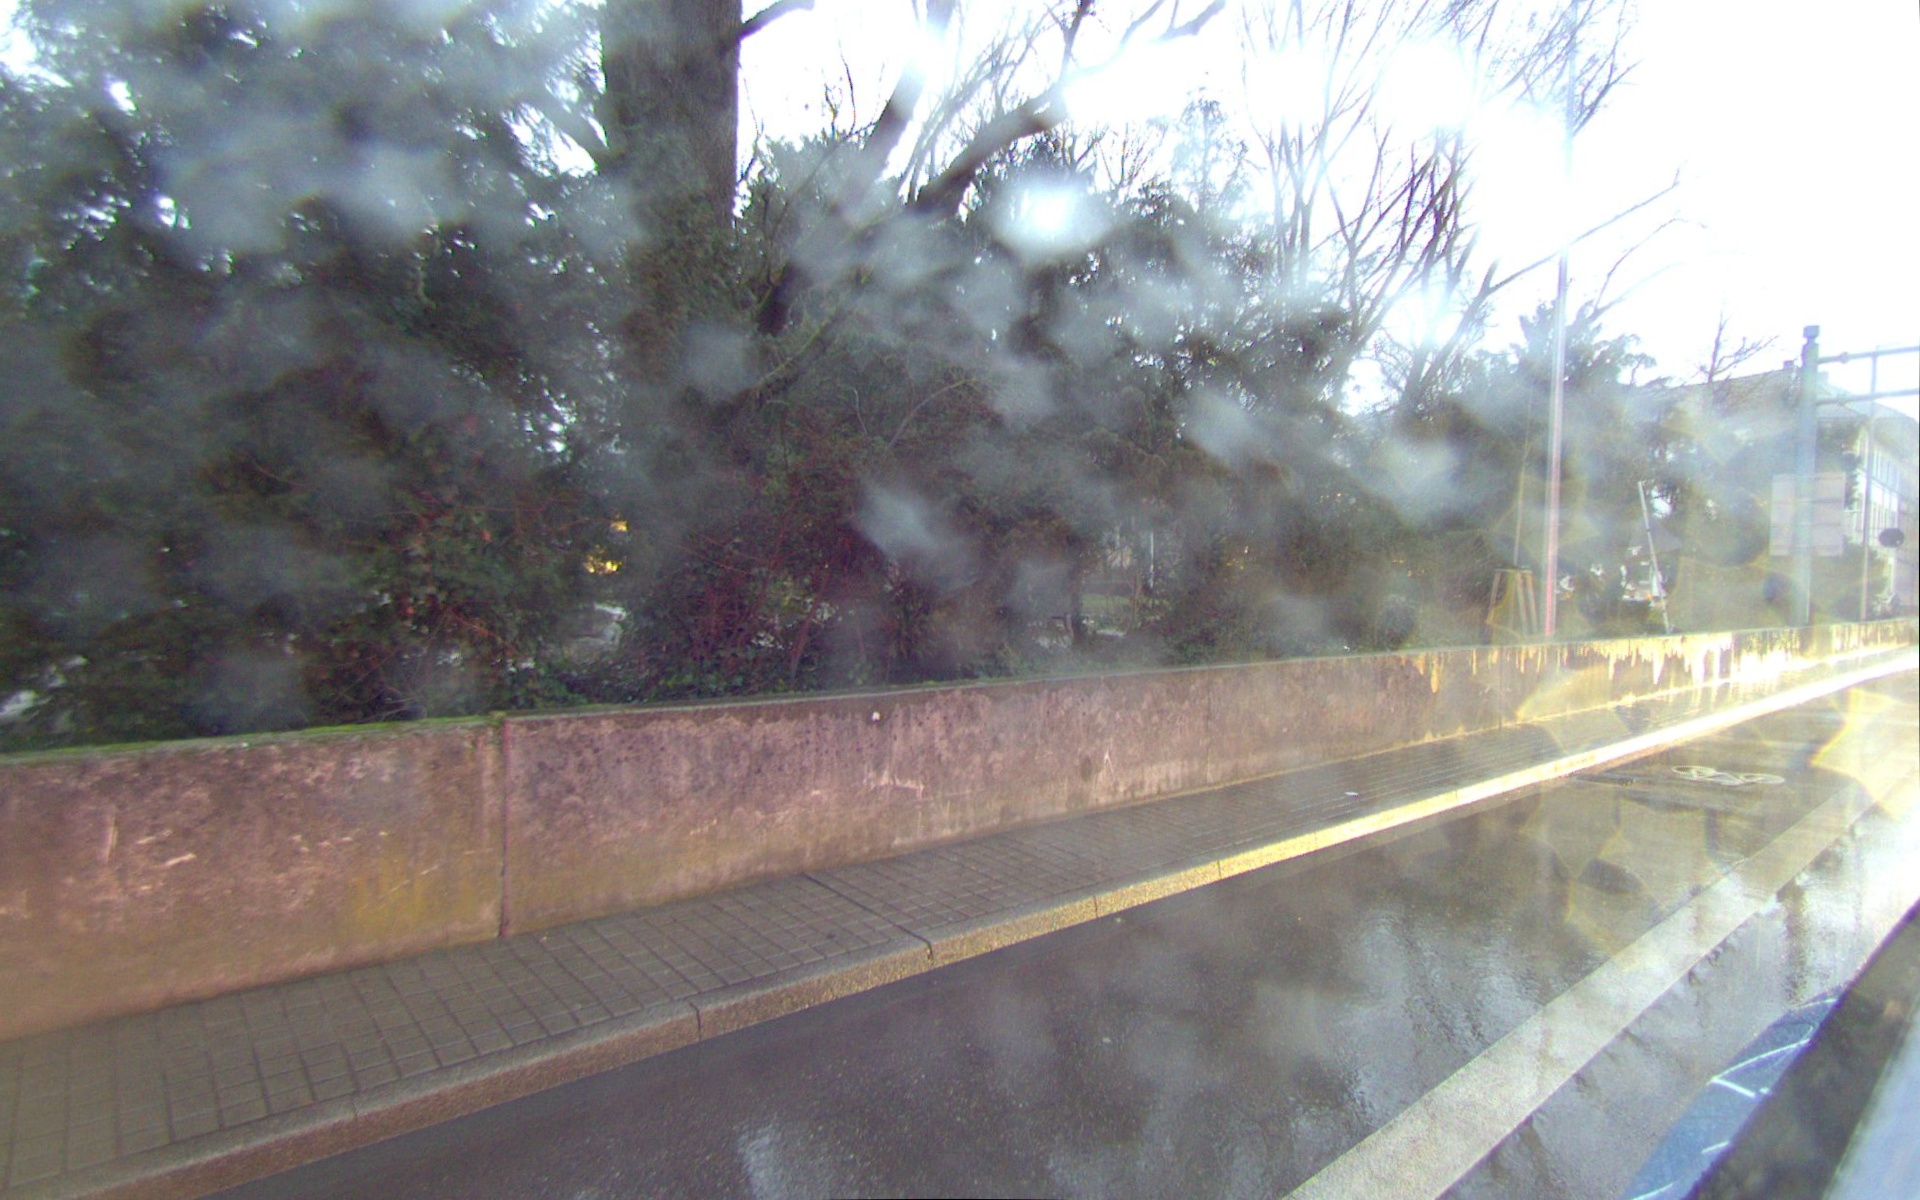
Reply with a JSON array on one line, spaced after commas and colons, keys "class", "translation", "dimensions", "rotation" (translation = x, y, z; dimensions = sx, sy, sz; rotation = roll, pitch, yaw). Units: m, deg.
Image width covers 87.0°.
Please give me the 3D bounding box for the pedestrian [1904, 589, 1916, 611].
[{"class": "pedestrian", "translation": [66.621, 0.013, 70.977], "dimensions": [0.577, 1.529, 0.520], "rotation": [0, 2, -41]}]
